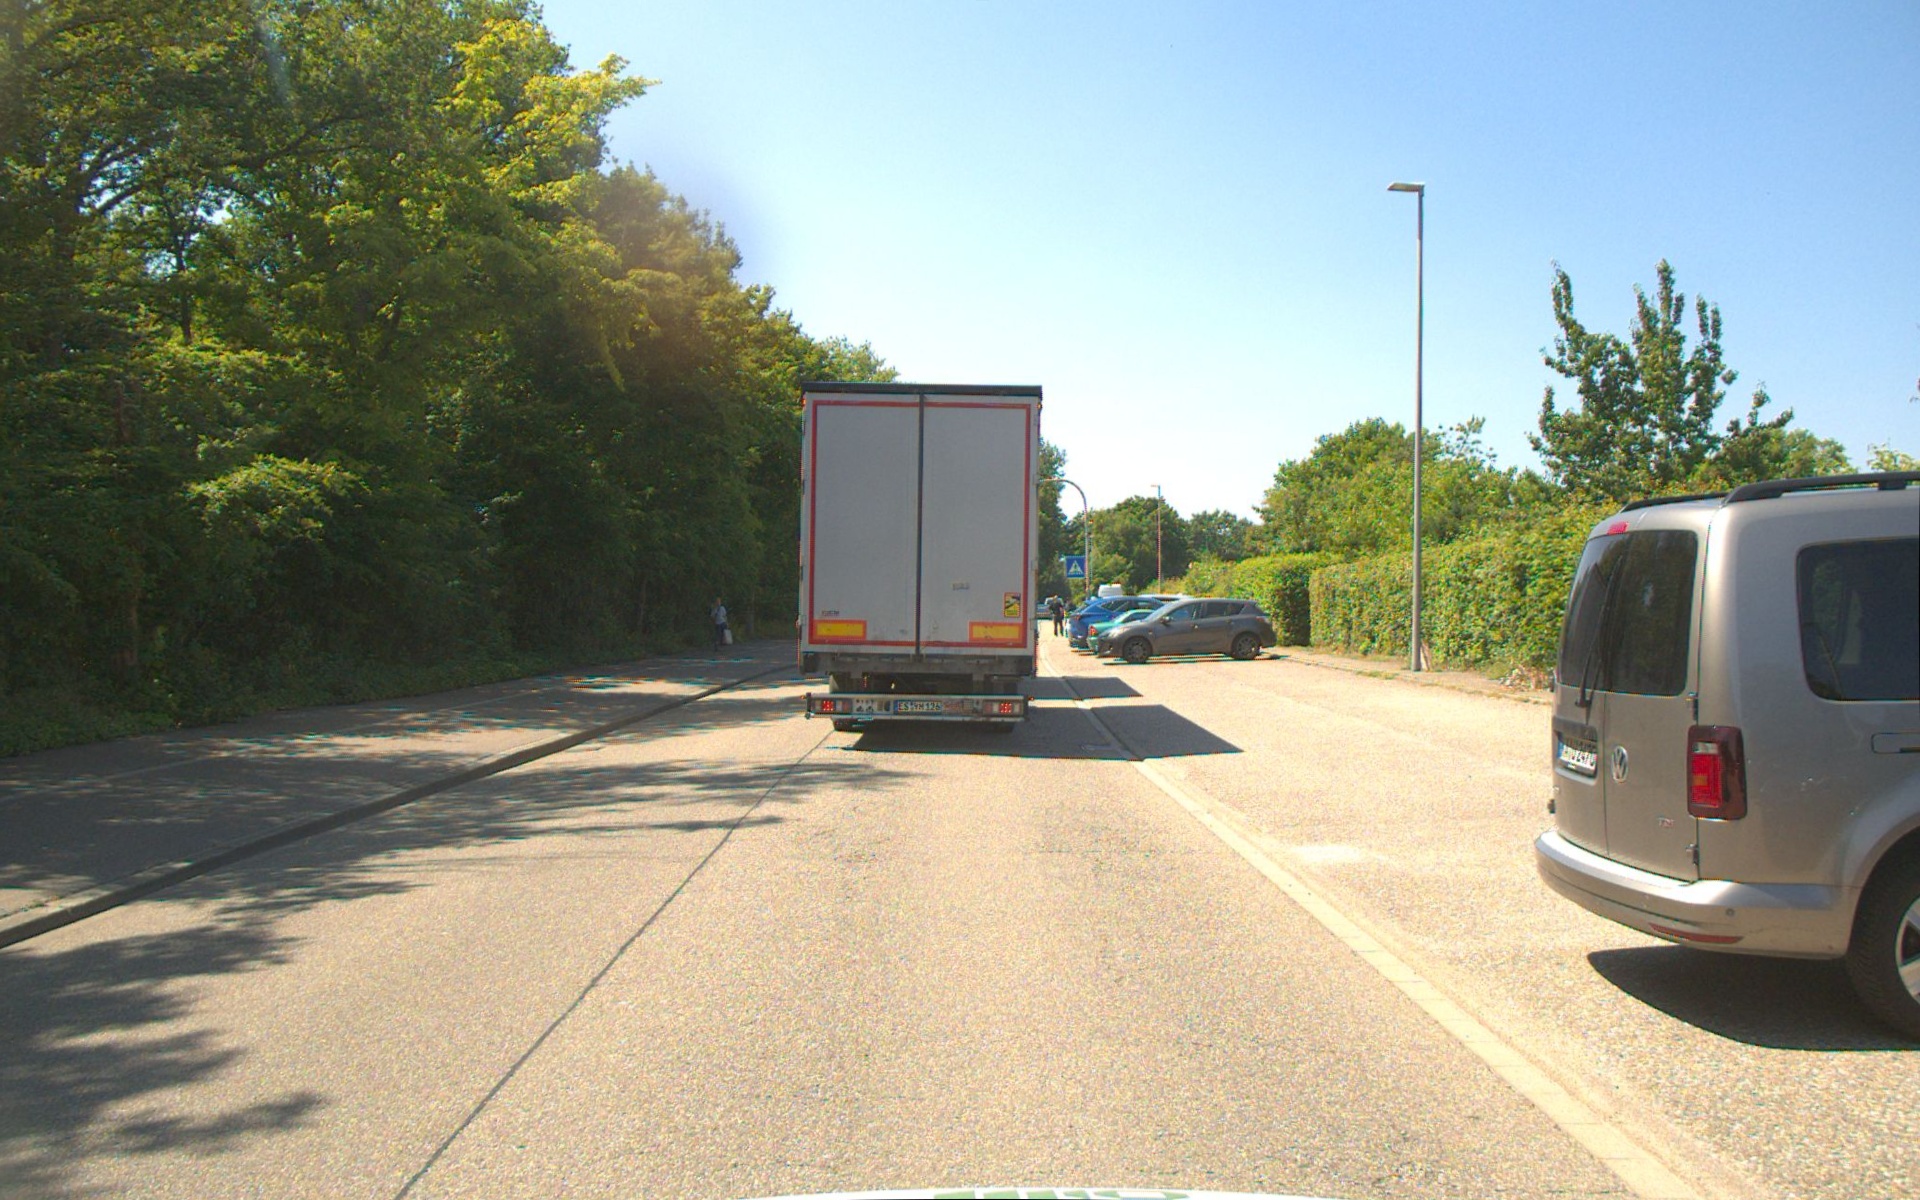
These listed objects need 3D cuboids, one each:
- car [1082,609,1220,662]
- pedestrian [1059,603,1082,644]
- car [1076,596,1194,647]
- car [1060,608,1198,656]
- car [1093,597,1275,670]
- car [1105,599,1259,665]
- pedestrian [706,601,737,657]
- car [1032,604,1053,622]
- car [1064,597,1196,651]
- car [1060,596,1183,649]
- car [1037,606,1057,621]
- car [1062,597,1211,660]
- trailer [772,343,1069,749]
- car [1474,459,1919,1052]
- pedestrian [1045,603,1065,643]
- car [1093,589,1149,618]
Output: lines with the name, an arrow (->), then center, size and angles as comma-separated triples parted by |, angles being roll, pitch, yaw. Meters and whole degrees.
car -> 5.283, 0.982, 46.041 | 3.657, 1.290, 1.628 | -3, -1, 3
pedestrian -> 5.068, 1.082, 75.819 | 0.888, 1.830, 0.936 | -3, -1, 7
car -> 6.198, 0.753, 58.929 | 4.039, 1.686, 1.887 | -1, -1, 2
car -> 5.268, 0.994, 51.847 | 4.049, 1.464, 1.813 | 0, -1, -5
car -> 5.349, 0.811, 39.867 | 4.078, 1.521, 1.883 | -3, -1, 1
car -> 5.726, 0.831, 42.960 | 3.723, 1.480, 1.774 | -3, -1, 1
pedestrian -> -7.241, 0.876, 50.228 | 0.811, 1.651, 0.783 | 1, 0, 0
car -> 6.966, 1.085, 139.689 | 1.744, 1.512, 4.001 | 0, 0, 2
car -> 5.596, 0.818, 54.862 | 4.149, 1.683, 1.899 | -1, -2, 0
car -> 5.959, 0.845, 61.480 | 4.314, 1.728, 1.877 | -3, -1, 0
car -> 8.206, 1.263, 156.454 | 1.585, 1.449, 3.668 | 0, 0, -1
car -> 5.170, 0.837, 48.844 | 4.151, 1.662, 1.823 | -2, -1, 1
trailer -> -0.330, -0.533, 22.808 | 3.048, 4.174, 11.537 | 0, 0, 1
car -> 4.580, 0.423, 6.366 | 4.527, 1.880, 1.995 | -2, 0, -1
pedestrian -> 4.486, 1.078, 78.079 | 0.804, 1.866, 0.793 | -3, -1, 7
car -> 11.650, 0.243, 119.633 | 3.873, 1.829, 1.814 | -3, -3, 5
